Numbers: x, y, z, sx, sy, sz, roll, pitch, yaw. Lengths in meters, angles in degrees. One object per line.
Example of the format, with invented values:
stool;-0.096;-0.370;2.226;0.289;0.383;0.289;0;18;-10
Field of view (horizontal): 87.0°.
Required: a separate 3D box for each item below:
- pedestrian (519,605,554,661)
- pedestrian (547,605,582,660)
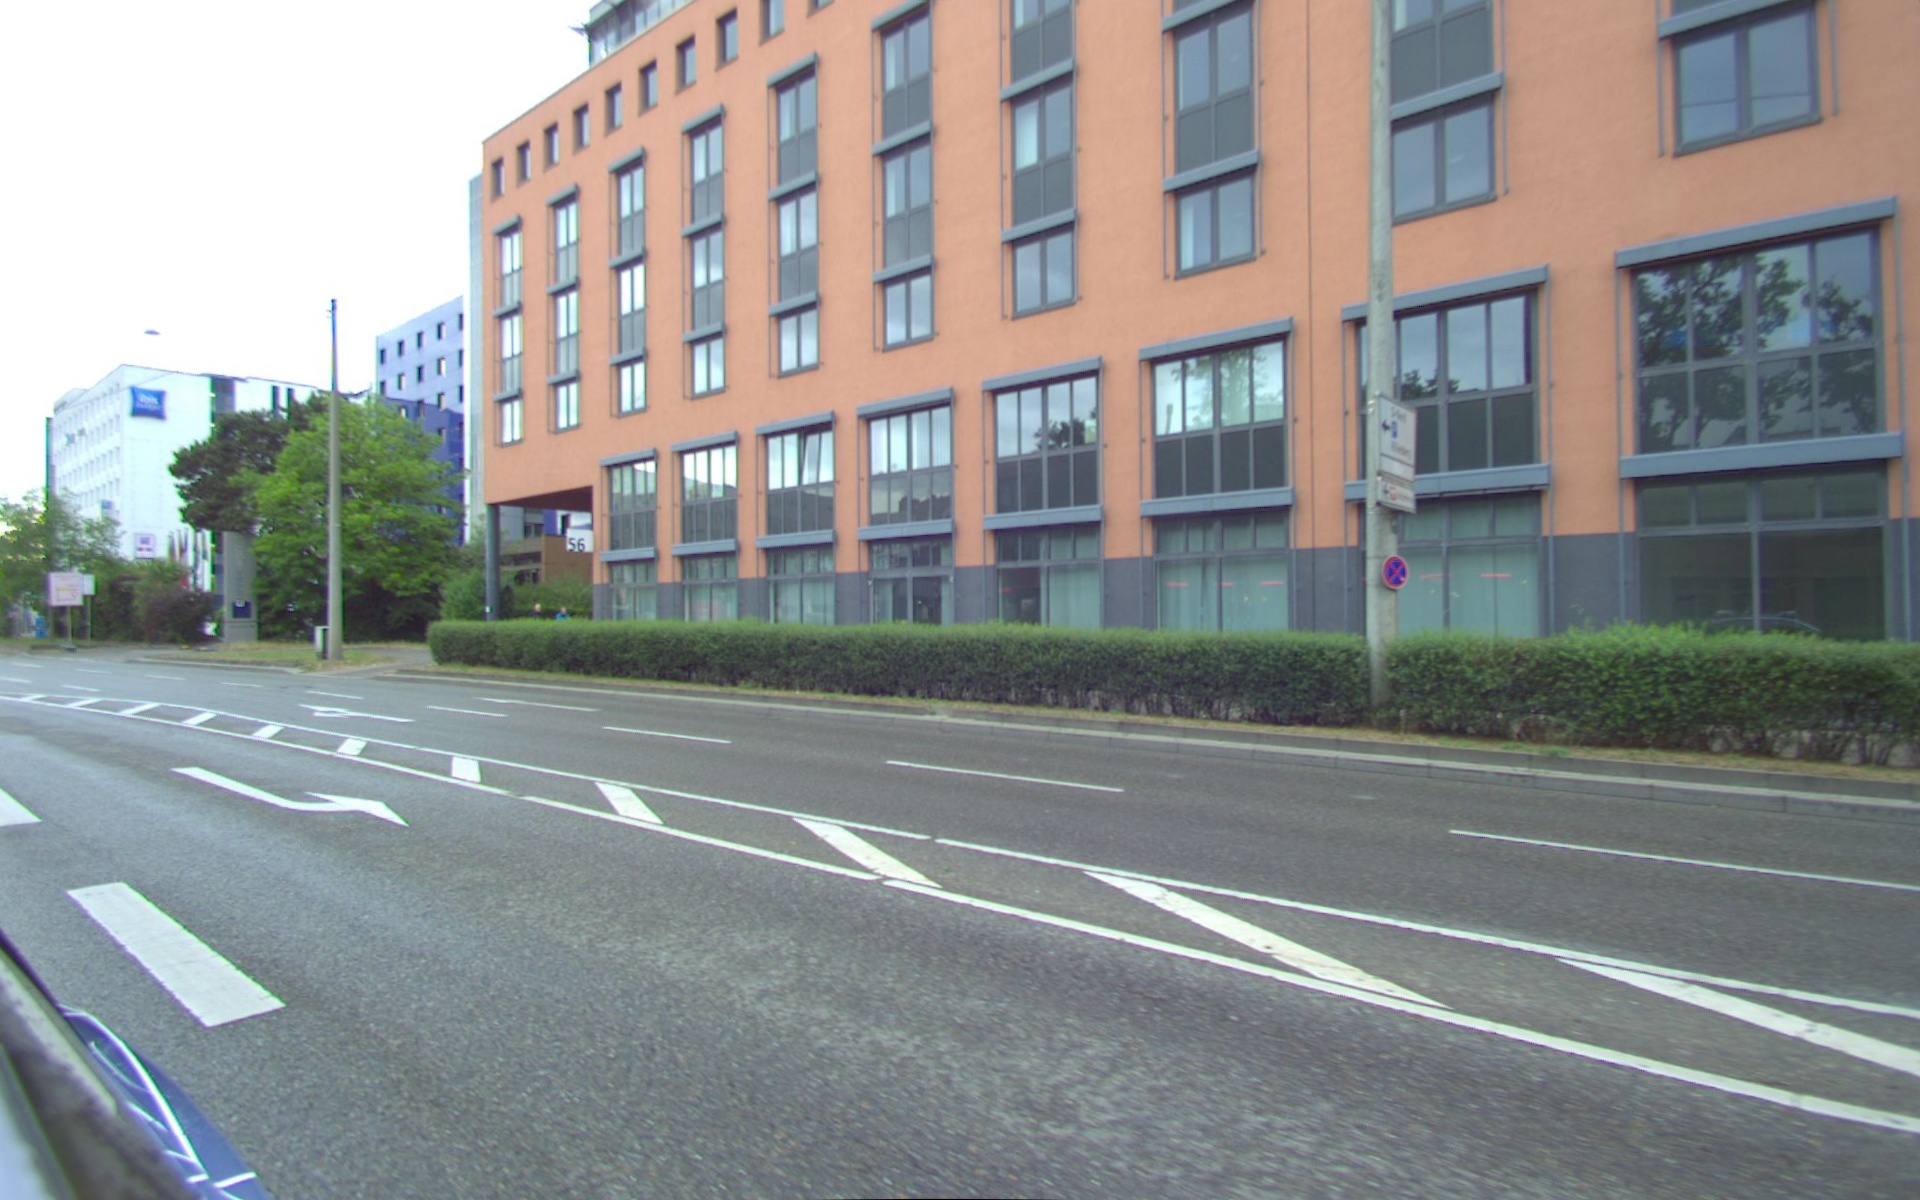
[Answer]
pedestrian;-14.201;1.096;33.912;0.885;1.855;0.738;-1;0;40
pedestrian;-13.469;1.093;34.442;0.885;1.855;0.738;-1;0;40
